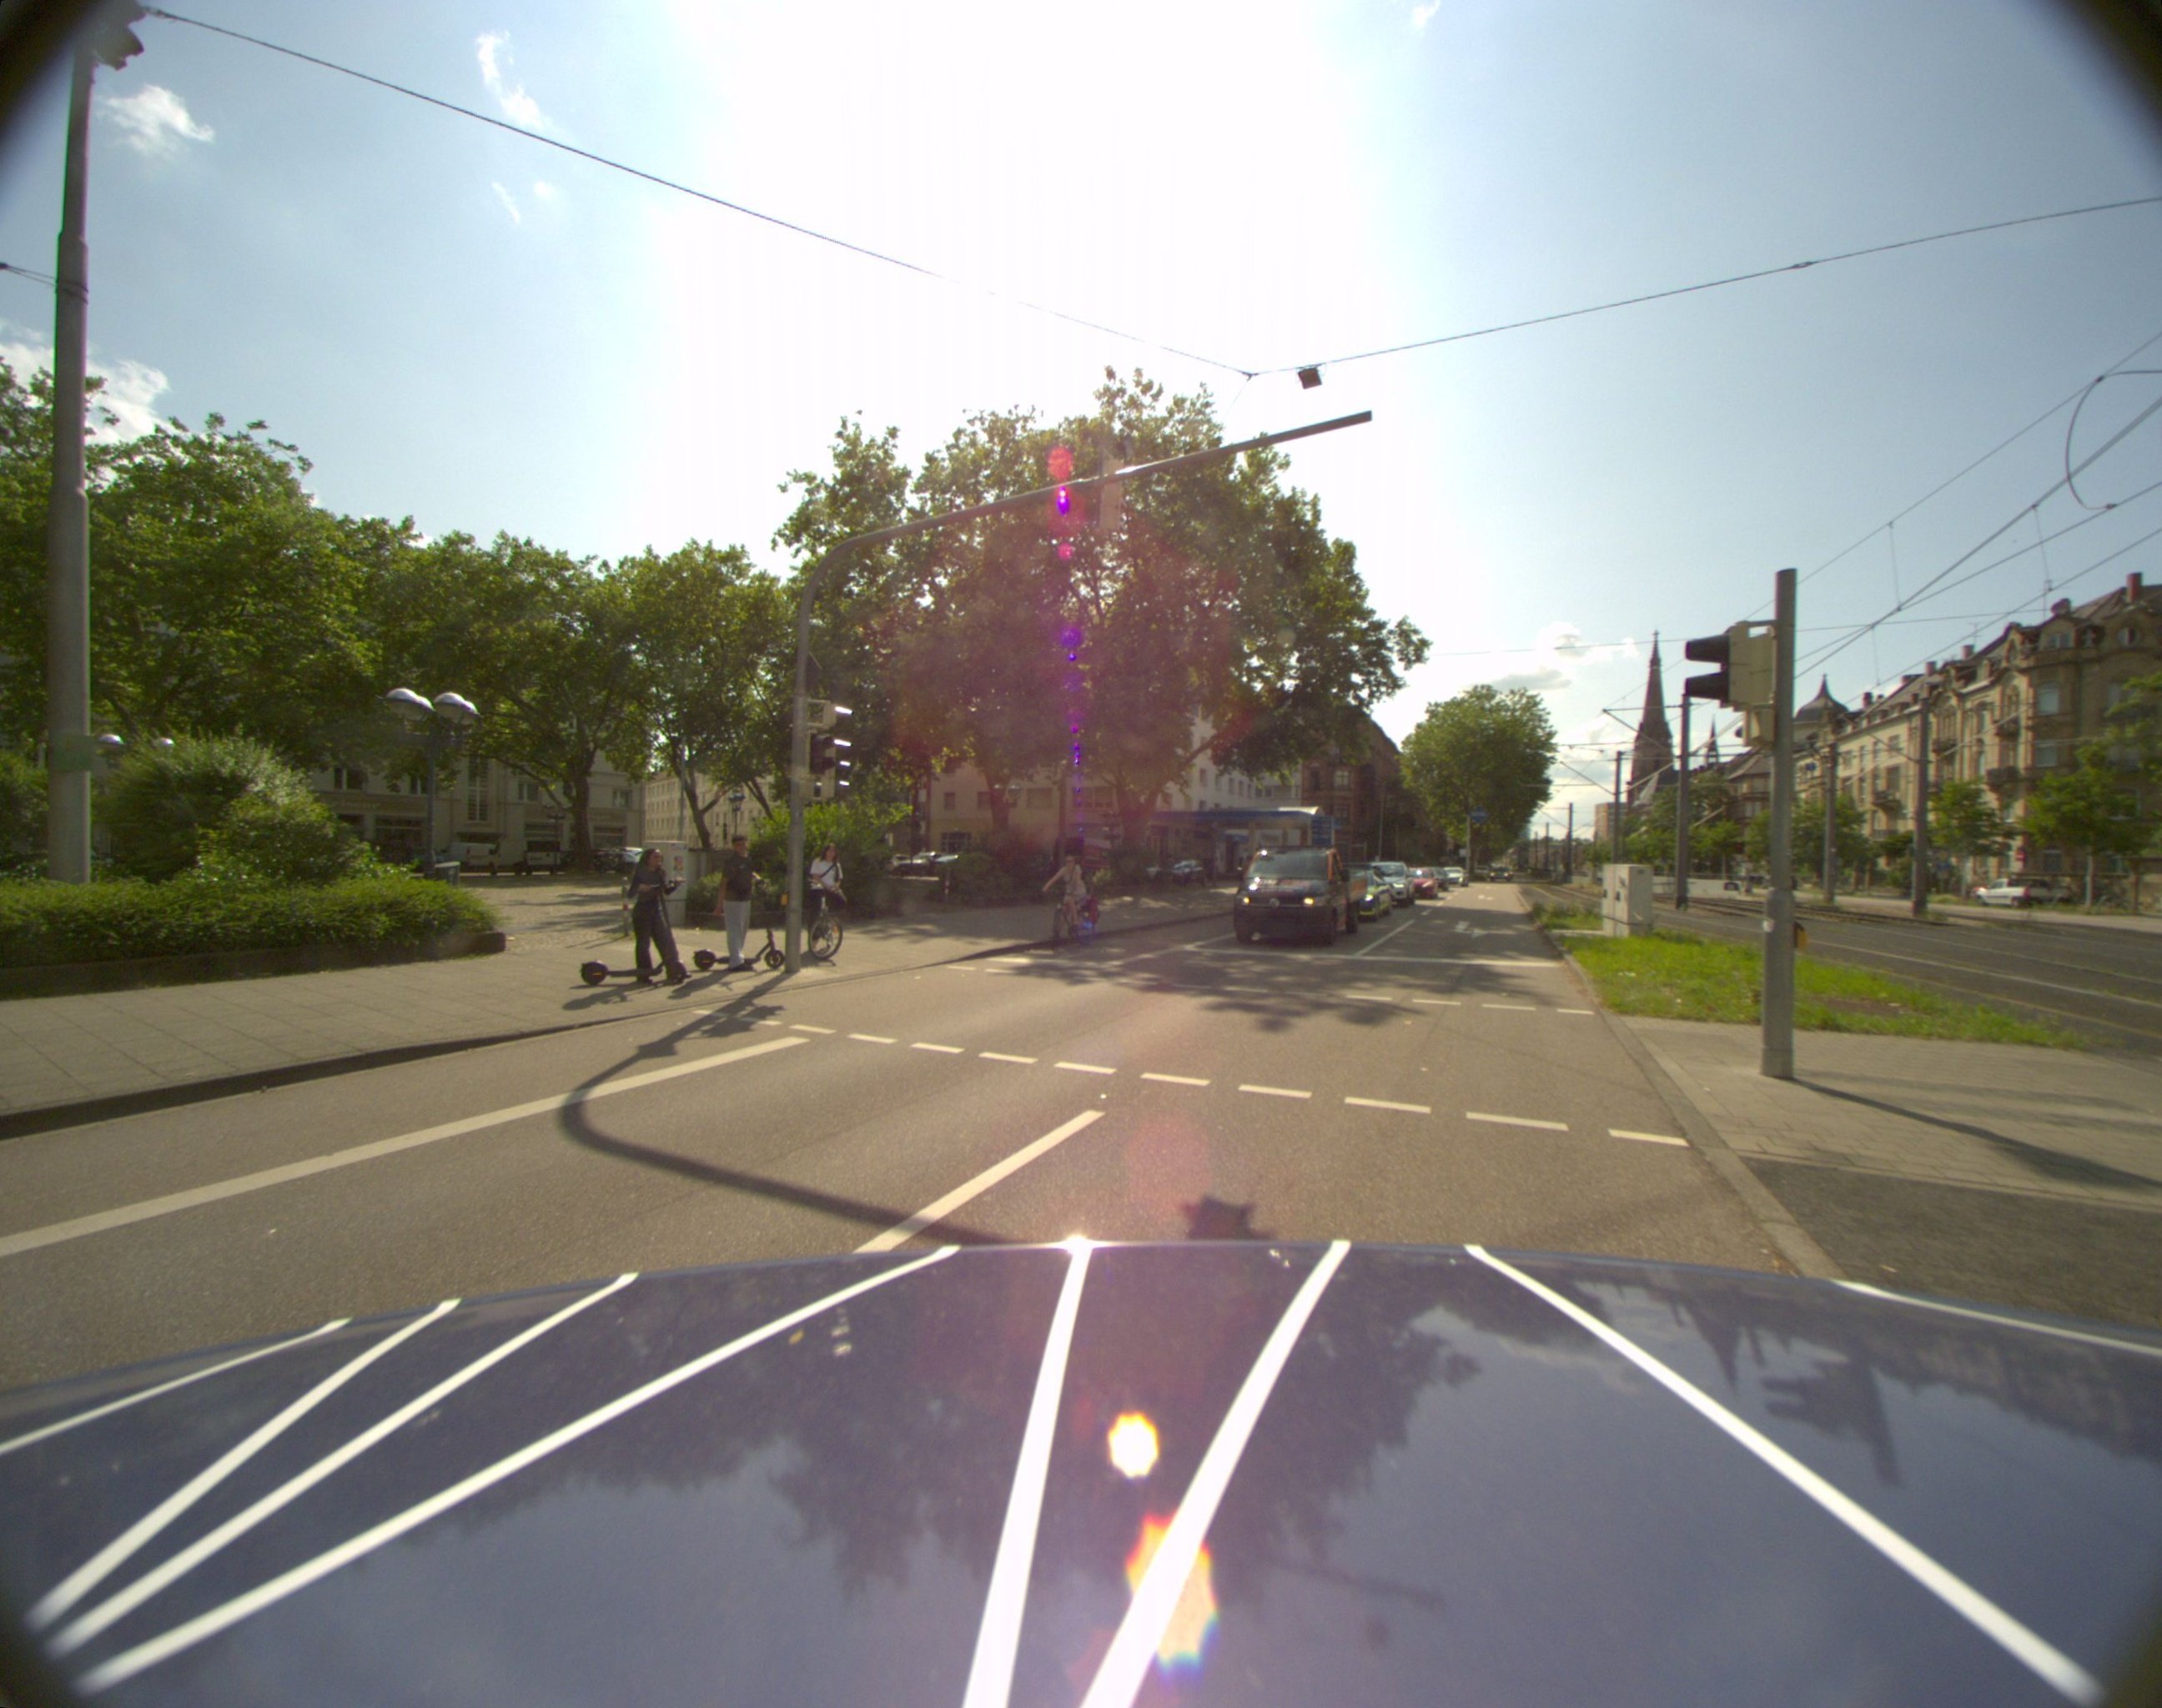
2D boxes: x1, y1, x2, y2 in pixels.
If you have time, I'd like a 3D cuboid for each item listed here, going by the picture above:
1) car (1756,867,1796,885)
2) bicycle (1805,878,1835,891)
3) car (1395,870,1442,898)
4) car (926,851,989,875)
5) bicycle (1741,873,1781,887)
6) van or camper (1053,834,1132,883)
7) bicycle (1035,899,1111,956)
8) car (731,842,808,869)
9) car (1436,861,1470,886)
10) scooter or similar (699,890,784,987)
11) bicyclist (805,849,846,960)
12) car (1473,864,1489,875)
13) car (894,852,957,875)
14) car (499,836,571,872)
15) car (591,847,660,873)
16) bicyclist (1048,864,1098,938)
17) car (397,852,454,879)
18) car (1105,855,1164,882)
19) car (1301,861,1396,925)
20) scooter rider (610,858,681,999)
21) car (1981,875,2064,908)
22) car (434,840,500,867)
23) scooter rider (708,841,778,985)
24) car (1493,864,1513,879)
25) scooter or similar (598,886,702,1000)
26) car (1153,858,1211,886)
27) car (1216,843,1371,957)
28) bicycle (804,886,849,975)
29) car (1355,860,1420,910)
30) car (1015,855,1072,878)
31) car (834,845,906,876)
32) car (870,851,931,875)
[{"bbox_3d":[64.338,1.996,70.423,1.686,1.494,4.717,2,1,29],"label":"car"},{"bbox_3d":[60.444,2.493,62.175,1.707,1.063,0.472,2,1,23],"label":"bicycle"},{"bbox_3d":[16.095,1.382,36.126,1.617,1.182,3.640,2,1,30],"label":"car"},{"bbox_3d":[-7.631,0.557,47.265,1.763,1.355,4.008,-1,-1,28],"label":"car"},{"bbox_3d":[67.905,2.612,75.895,2.950,1.239,0.794,1,0,16],"label":"bicycle"},{"bbox_3d":[0.741,0.295,43.577,2.103,2.625,5.360,-1,-1,30],"label":"van or camper"},{"bbox_3d":[-0.126,1.356,14.322,0.469,0.916,1.721,2,1,37],"label":"bicycle"},{"bbox_3d":[-23.076,0.115,56.489,1.995,1.861,5.263,-1,-1,26],"label":"car"},{"bbox_3d":[27.319,1.396,55.728,1.948,1.598,5.085,1,2,28],"label":"car"},{"bbox_3d":[-4.440,1.075,9.945,0.878,1.165,0.543,2,2,-36],"label":"scooter or similar"},{"bbox_3d":[-3.984,0.766,11.835,0.508,1.659,0.582,2,3,-22],"label":"bicyclist"},{"bbox_3d":[49.548,1.854,94.044,1.498,1.295,3.498,-1,-1,31],"label":"car"},{"bbox_3d":[-9.843,0.597,48.405,1.763,1.355,4.008,-1,-1,28],"label":"car"},{"bbox_3d":[-31.871,0.029,44.313,3.922,2.001,2.260,-1,-1,36],"label":"car"},{"bbox_3d":[-29.165,0.370,48.614,4.072,1.524,1.855,1,0,26],"label":"car"},{"bbox_3d":[-0.144,0.860,14.284,0.469,1.336,0.911,2,1,37],"label":"bicyclist"},{"bbox_3d":[-41.946,0.765,48.607,3.725,1.657,1.937,-2,-1,36],"label":"car"},{"bbox_3d":[2.988,0.778,41.776,1.753,1.402,4.008,1,0,28],"label":"car"},{"bbox_3d":[8.117,1.059,22.719,1.868,1.642,5.163,0,0,29],"label":"car"},{"bbox_3d":[-5.106,0.848,8.927,0.437,1.584,0.545,3,1,7],"label":"scooter rider"},{"bbox_3d":[47.365,1.853,38.309,1.668,1.408,3.852,4,2,37],"label":"car"},{"bbox_3d":[-41.116,-0.048,50.895,4.072,1.650,1.855,1,0,26],"label":"car"},{"bbox_3d":[-4.423,0.749,9.943,0.681,1.800,0.543,2,2,-36],"label":"scooter rider"},{"bbox_3d":[44.270,1.802,79.804,1.761,1.490,4.195,2,1,28],"label":"car"},{"bbox_3d":[-5.047,1.027,8.923,0.875,1.219,0.545,3,1,6],"label":"scooter or similar"},{"bbox_3d":[5.446,0.930,40.598,1.753,1.402,4.008,1,0,28],"label":"car"},{"bbox_3d":[4.791,0.784,16.440,2.076,1.975,5.345,1,2,28],"label":"car"},{"bbox_3d":[-3.889,1.121,11.557,0.508,1.106,1.627,2,2,-22],"label":"bicycle"},{"bbox_3d":[11.829,1.117,29.149,1.761,1.598,4.687,1,2,28],"label":"car"},{"bbox_3d":[-2.123,0.729,44.261,1.475,1.286,4.008,-1,-1,28],"label":"car"},{"bbox_3d":[-14.168,0.436,51.222,1.995,1.923,4.691,-1,-1,28],"label":"car"},{"bbox_3d":[-11.866,0.602,50.238,1.660,1.511,4.008,-1,-1,28],"label":"car"}]
